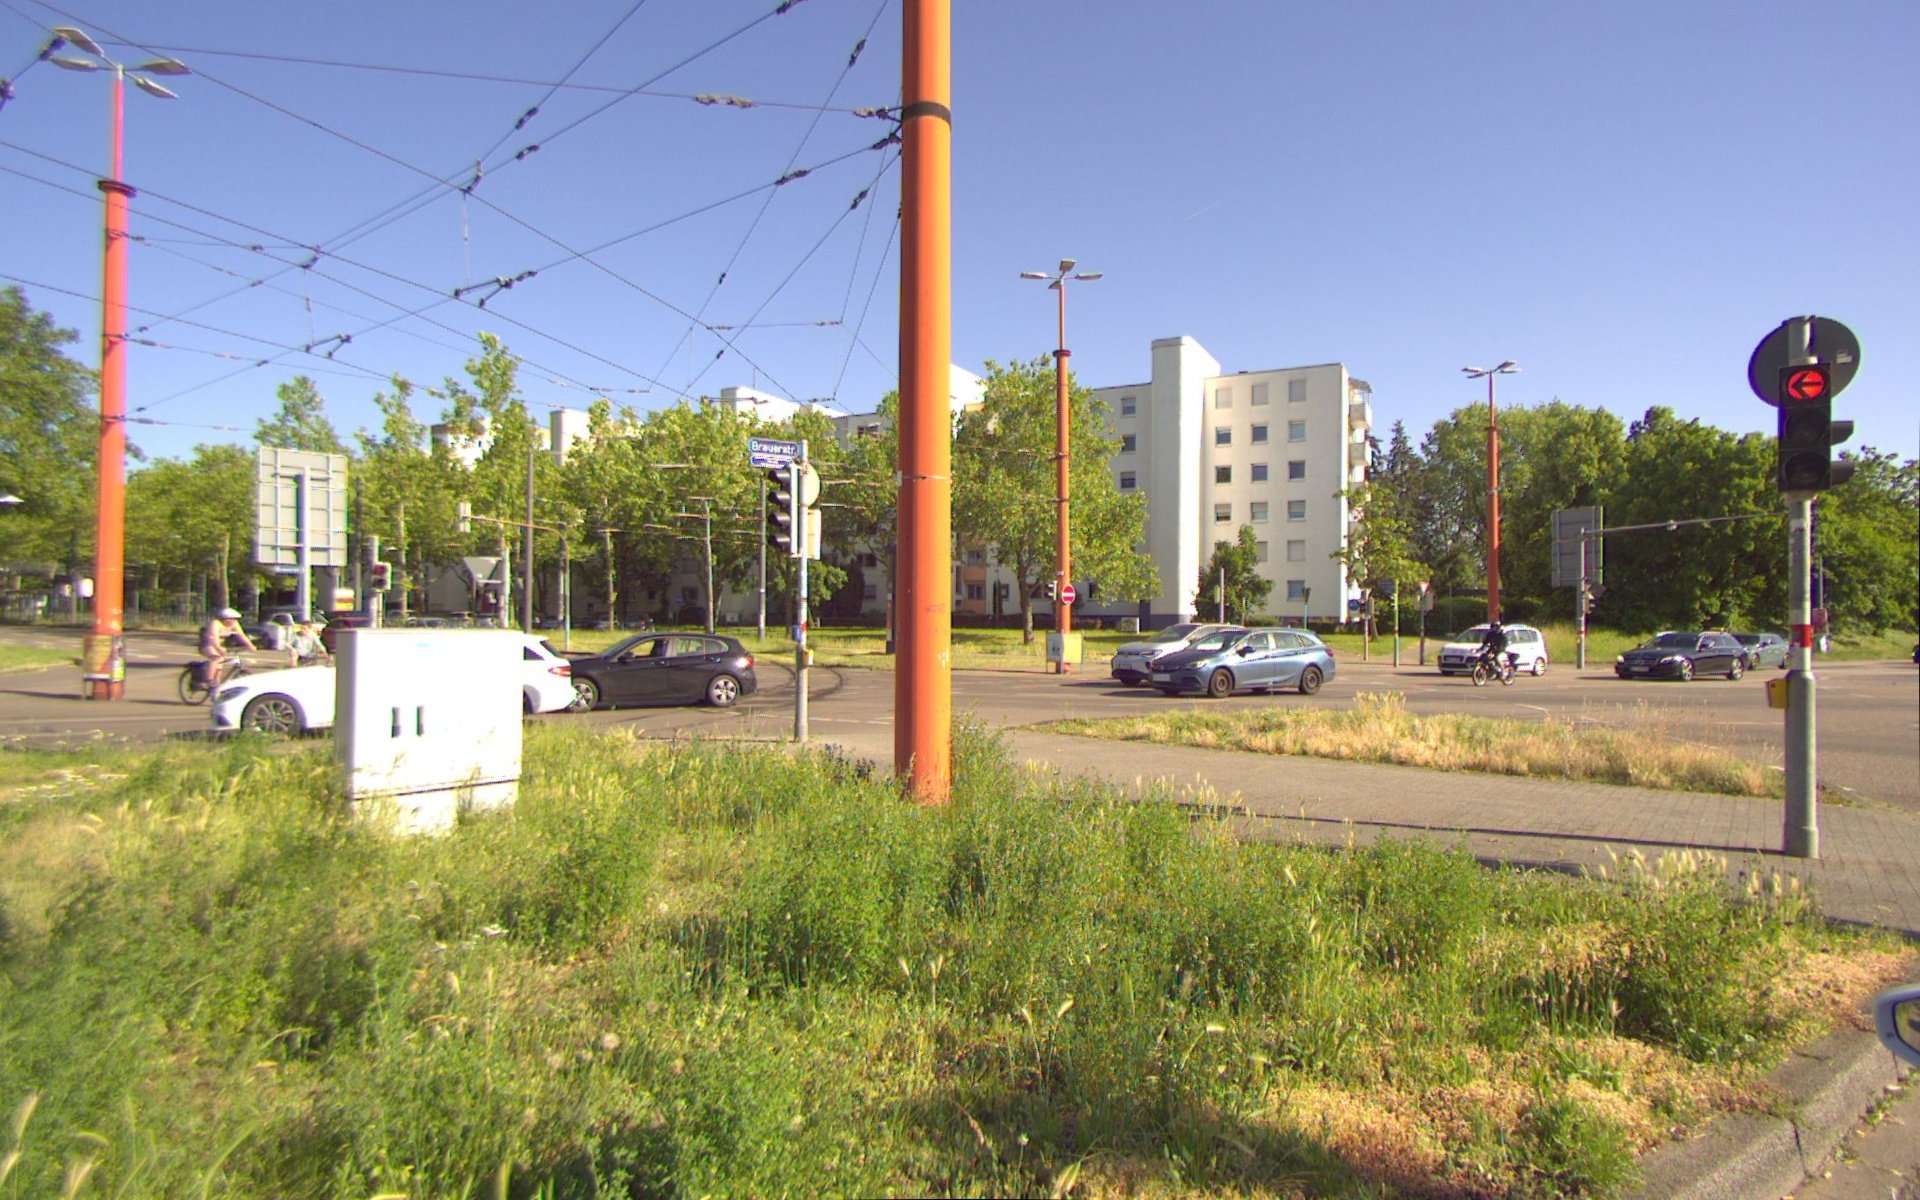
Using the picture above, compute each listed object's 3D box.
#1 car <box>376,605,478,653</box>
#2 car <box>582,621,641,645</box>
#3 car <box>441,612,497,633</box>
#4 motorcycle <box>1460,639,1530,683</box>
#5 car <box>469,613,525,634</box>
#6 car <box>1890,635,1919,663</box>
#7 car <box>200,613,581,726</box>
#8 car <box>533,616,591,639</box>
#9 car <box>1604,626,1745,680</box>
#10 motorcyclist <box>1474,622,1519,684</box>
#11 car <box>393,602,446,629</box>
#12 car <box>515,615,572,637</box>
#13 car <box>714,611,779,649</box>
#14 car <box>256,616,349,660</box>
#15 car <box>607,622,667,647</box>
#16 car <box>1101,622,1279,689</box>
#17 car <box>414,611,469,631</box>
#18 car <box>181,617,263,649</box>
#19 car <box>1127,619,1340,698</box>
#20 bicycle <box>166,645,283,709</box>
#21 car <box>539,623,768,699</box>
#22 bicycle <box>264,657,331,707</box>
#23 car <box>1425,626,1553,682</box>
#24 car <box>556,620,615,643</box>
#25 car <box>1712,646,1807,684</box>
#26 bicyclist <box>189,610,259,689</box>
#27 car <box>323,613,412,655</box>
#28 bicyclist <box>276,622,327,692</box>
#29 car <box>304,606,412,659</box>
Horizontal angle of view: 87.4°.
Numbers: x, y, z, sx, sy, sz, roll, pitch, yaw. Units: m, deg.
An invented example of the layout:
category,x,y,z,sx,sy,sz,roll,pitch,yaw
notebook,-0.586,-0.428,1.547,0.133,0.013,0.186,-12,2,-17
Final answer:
category,x,y,z,sx,sy,sz,roll,pitch,yaw
car,-23.129,1.218,43.555,4.200,1.926,1.996,1,0,31
car,-25.688,2.439,74.223,3.934,1.617,1.889,2,0,-15
car,-41.794,1.913,85.633,3.934,1.617,1.889,2,0,-15
motorcycle,14.370,1.643,26.977,2.065,1.146,0.420,2,0,-22
car,-38.592,1.978,83.755,3.934,1.617,1.889,2,0,-15
car,50.606,2.572,52.685,3.838,1.452,1.538,2,-3,-29
car,-8.130,0.975,14.757,4.587,1.441,1.696,2,-2,-29
car,-30.799,2.125,77.762,3.934,1.617,1.889,2,0,-15
car,22.070,1.615,30.986,4.551,1.505,1.867,2,0,-30
motorcyclist,14.388,1.404,26.957,0.631,1.621,0.833,1,0,-22
car,-43.015,1.231,79.874,4.334,2.040,1.994,0,-1,35
car,-32.881,2.086,79.403,3.934,1.617,1.889,2,0,-15
car,-13.846,1.907,65.061,3.934,2.341,1.889,2,0,-15
car,-29.132,1.644,44.475,3.929,1.773,1.909,1,0,31
car,-23.196,2.485,72.247,3.934,1.617,1.889,2,0,-15
car,6.010,1.432,26.172,4.381,1.622,1.832,2,-2,-27
car,-45.167,1.844,87.603,3.934,1.617,1.889,2,0,-15
car,-34.768,1.527,47.301,3.929,1.339,1.732,1,0,31
car,6.081,1.258,22.274,4.406,1.615,1.986,1,-2,-27
bicycle,-13.959,1.444,19.060,2.313,1.095,0.474,1,0,17
car,-5.971,1.156,19.640,3.983,1.359,1.853,2,-2,-30
bicycle,-13.210,1.619,20.019,1.596,0.894,0.368,1,0,28
car,17.309,1.747,32.846,4.010,1.730,1.793,2,-2,-29
car,-28.154,2.389,75.680,3.934,1.617,1.889,2,0,-15
car,31.732,2.558,39.849,4.088,1.406,1.424,2,0,-28
bicyclist,-13.960,0.916,19.053,0.742,1.449,0.752,1,0,17
car,-27.670,1.556,46.909,3.929,1.773,1.909,1,0,31
bicyclist,-13.061,1.109,19.928,0.687,1.340,0.548,1,0,28
car,-24.257,1.265,40.451,4.200,1.926,1.996,1,0,31
